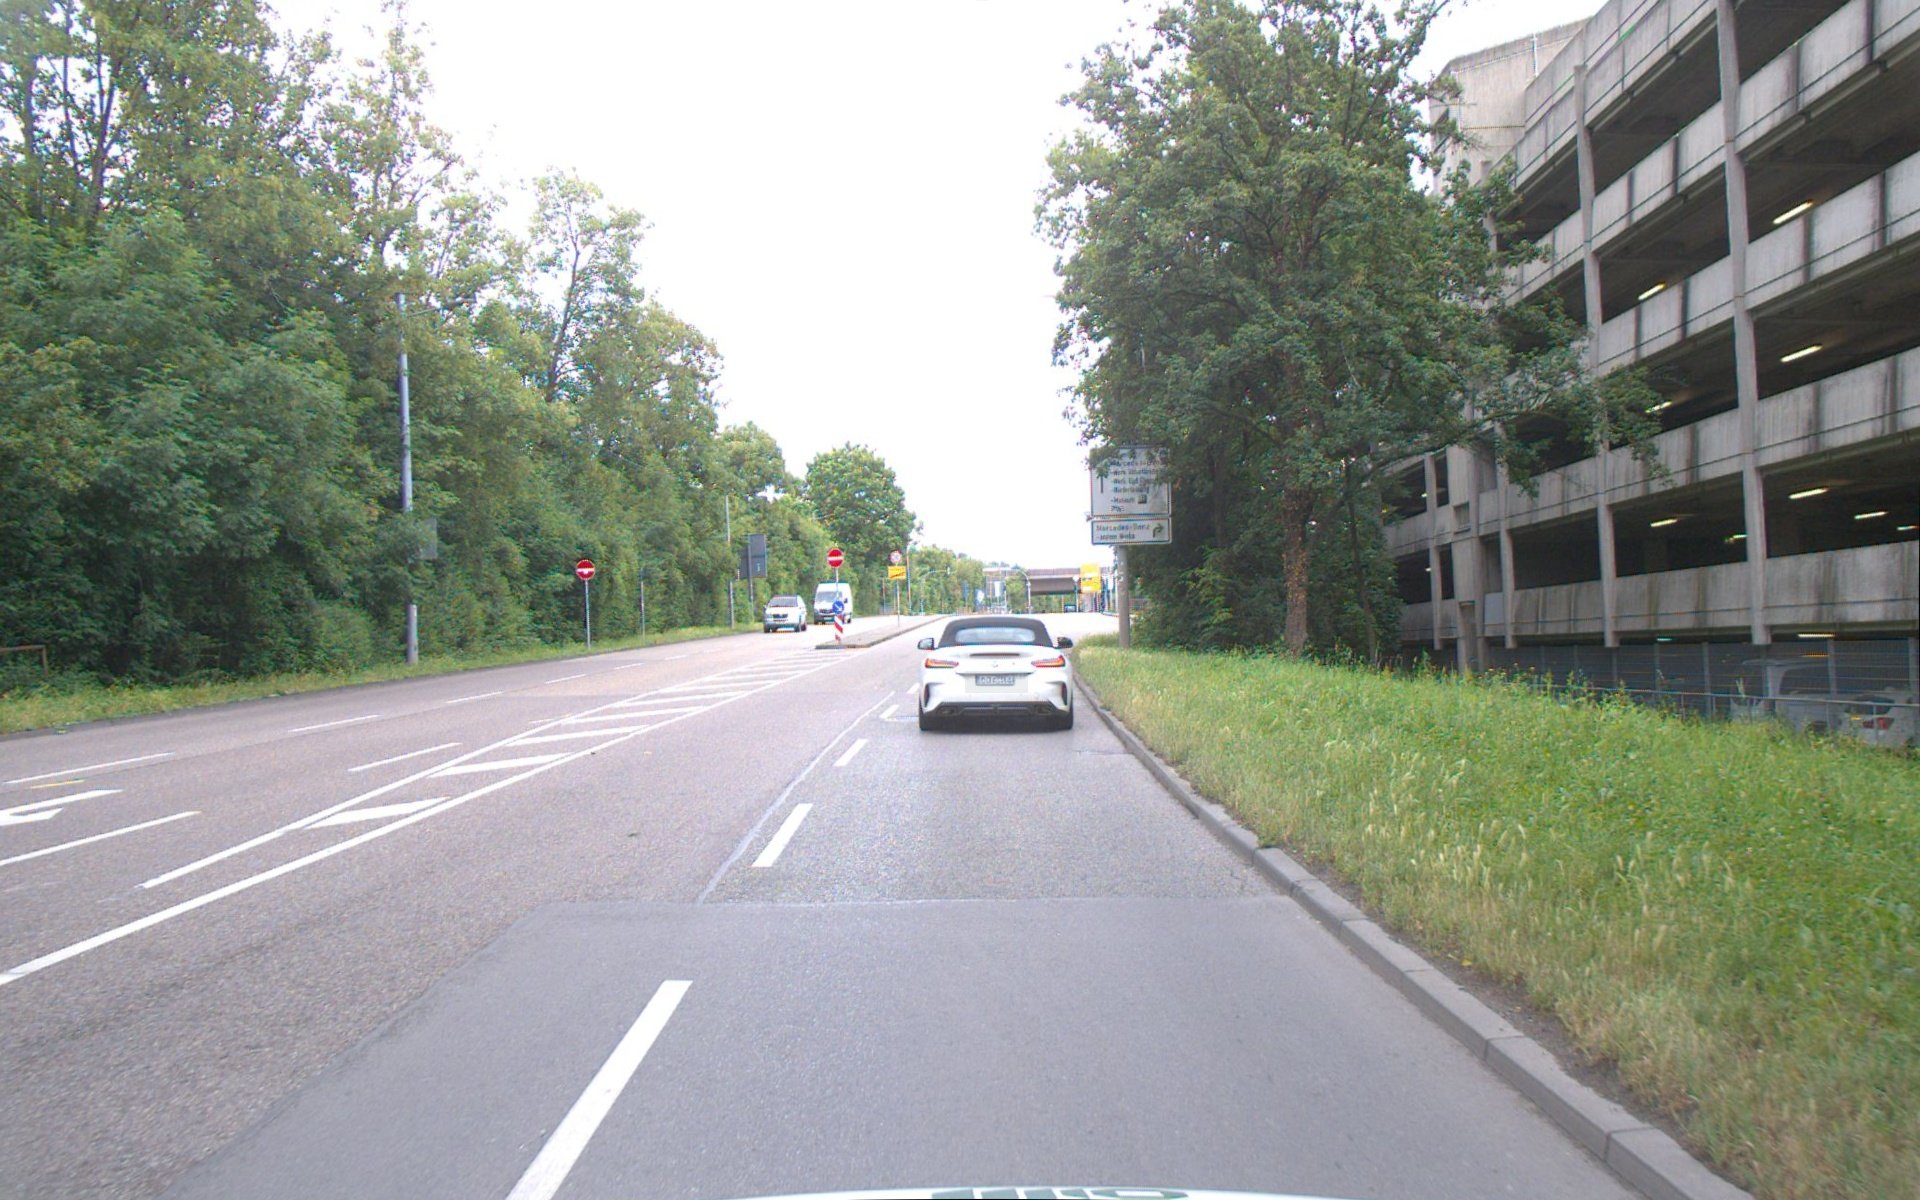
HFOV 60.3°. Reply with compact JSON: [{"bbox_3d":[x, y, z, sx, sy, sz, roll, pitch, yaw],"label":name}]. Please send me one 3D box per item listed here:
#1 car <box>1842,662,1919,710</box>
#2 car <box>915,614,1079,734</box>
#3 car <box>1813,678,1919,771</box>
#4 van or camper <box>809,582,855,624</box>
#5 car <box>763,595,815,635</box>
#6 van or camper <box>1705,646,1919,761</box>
[{"bbox_3d":[29.275,2.611,51.080,3.135,1.330,1.569,-3,-3,4],"label":"car"},{"bbox_3d":[0.462,0.863,20.615,1.836,1.332,3.873,-1,-1,1],"label":"car"},{"bbox_3d":[17.436,2.110,28.982,3.924,1.462,1.949,-3,-2,-1],"label":"car"},{"bbox_3d":[-8.212,0.165,106.690,2.236,2.599,6.860,-1,0,1],"label":"van or camper"},{"bbox_3d":[-8.543,0.722,83.021,1.775,1.862,4.386,-2,0,5],"label":"car"},{"bbox_3d":[16.978,1.984,32.330,3.924,1.988,1.839,-3,-2,-1],"label":"van or camper"}]
